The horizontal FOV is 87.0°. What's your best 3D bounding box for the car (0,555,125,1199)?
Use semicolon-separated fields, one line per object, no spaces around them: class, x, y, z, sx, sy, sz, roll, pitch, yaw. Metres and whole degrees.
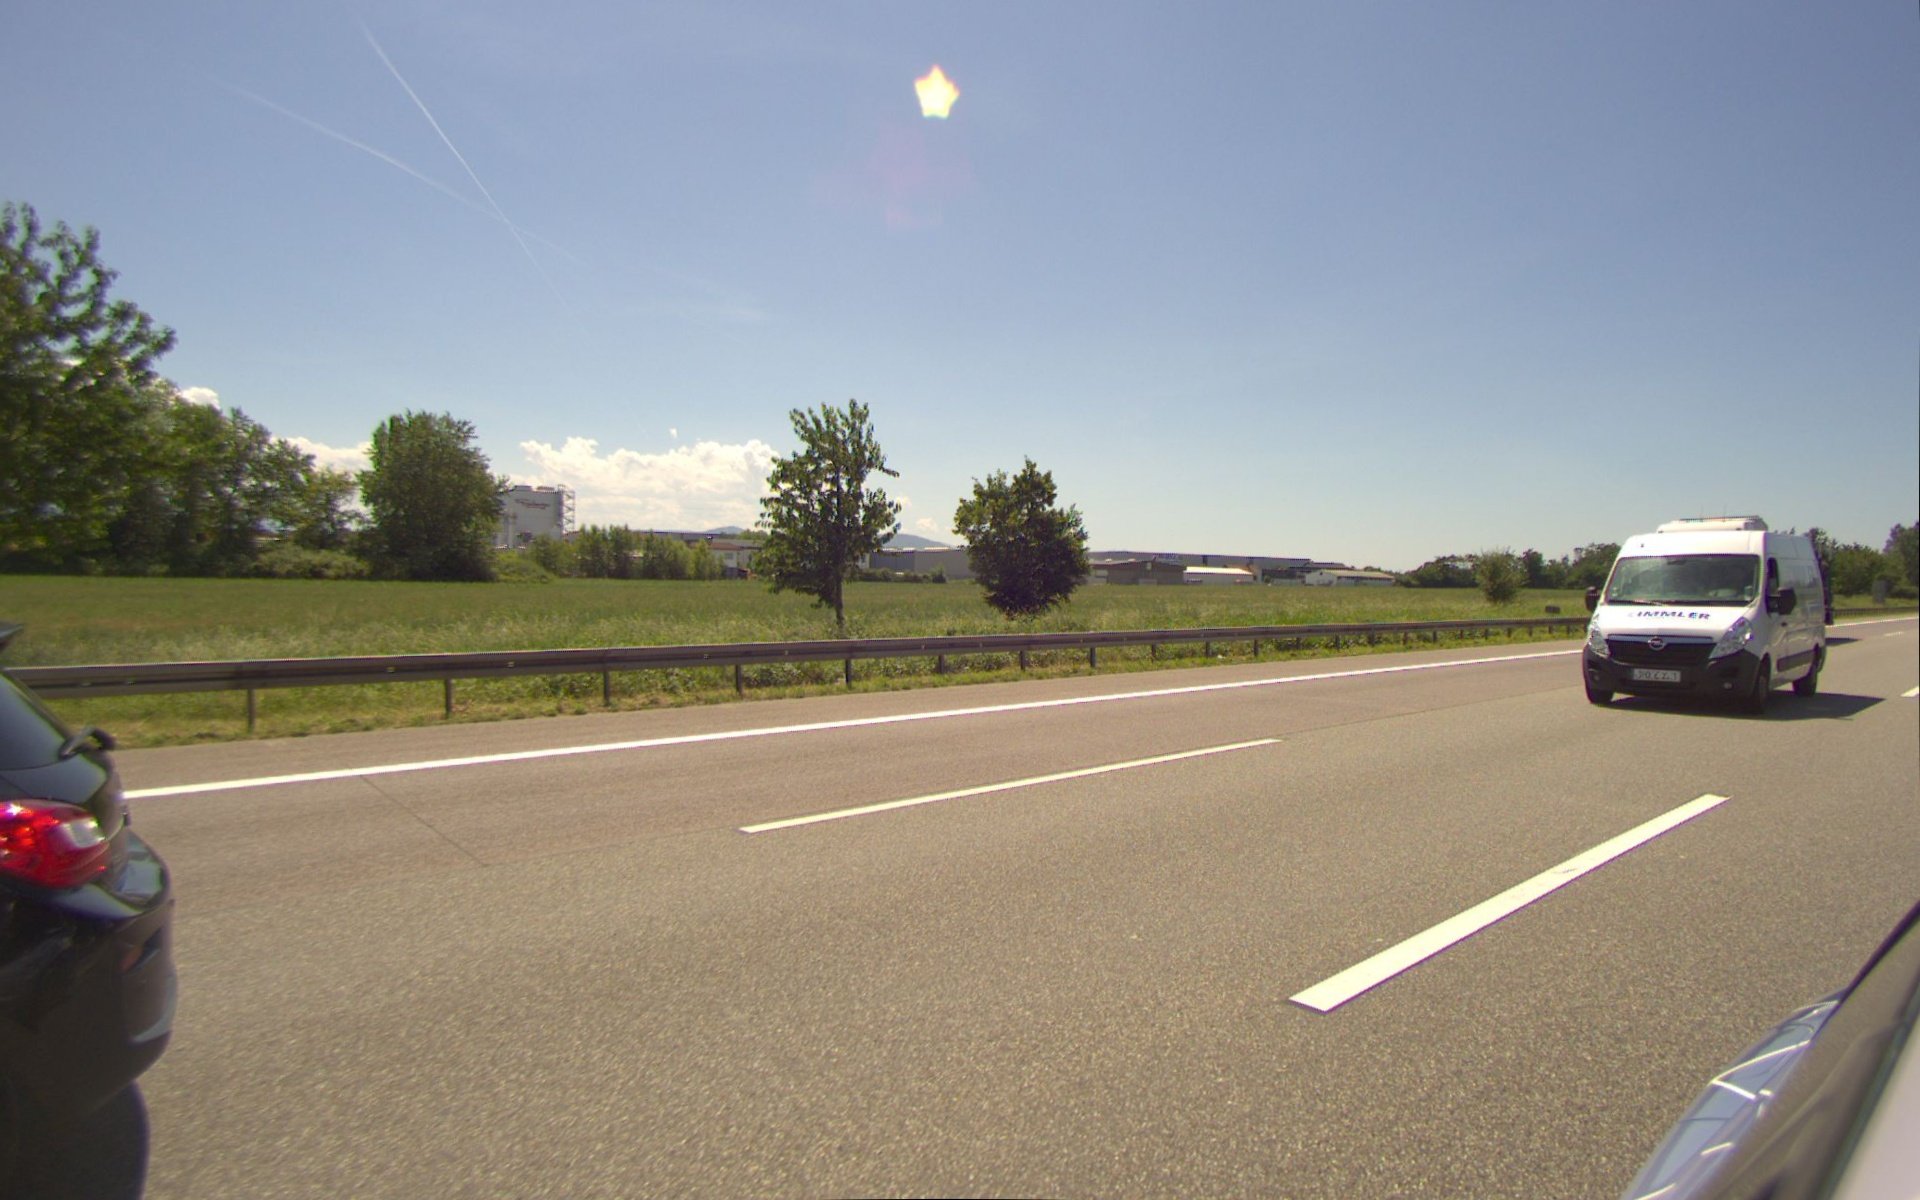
car;-3.641;0.667;1.718;3.374;1.492;1.689;-1;0;-42

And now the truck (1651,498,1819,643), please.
truck;24.315;-0.845;31.576;7.568;4.016;2.697;0;0;-41

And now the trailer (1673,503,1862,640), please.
trailer;28.325;-0.869;35.077;13.717;4.016;2.697;0;0;-41

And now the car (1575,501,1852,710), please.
car;11.372;0.042;15.069;5.843;2.540;2.156;-1;0;-42
